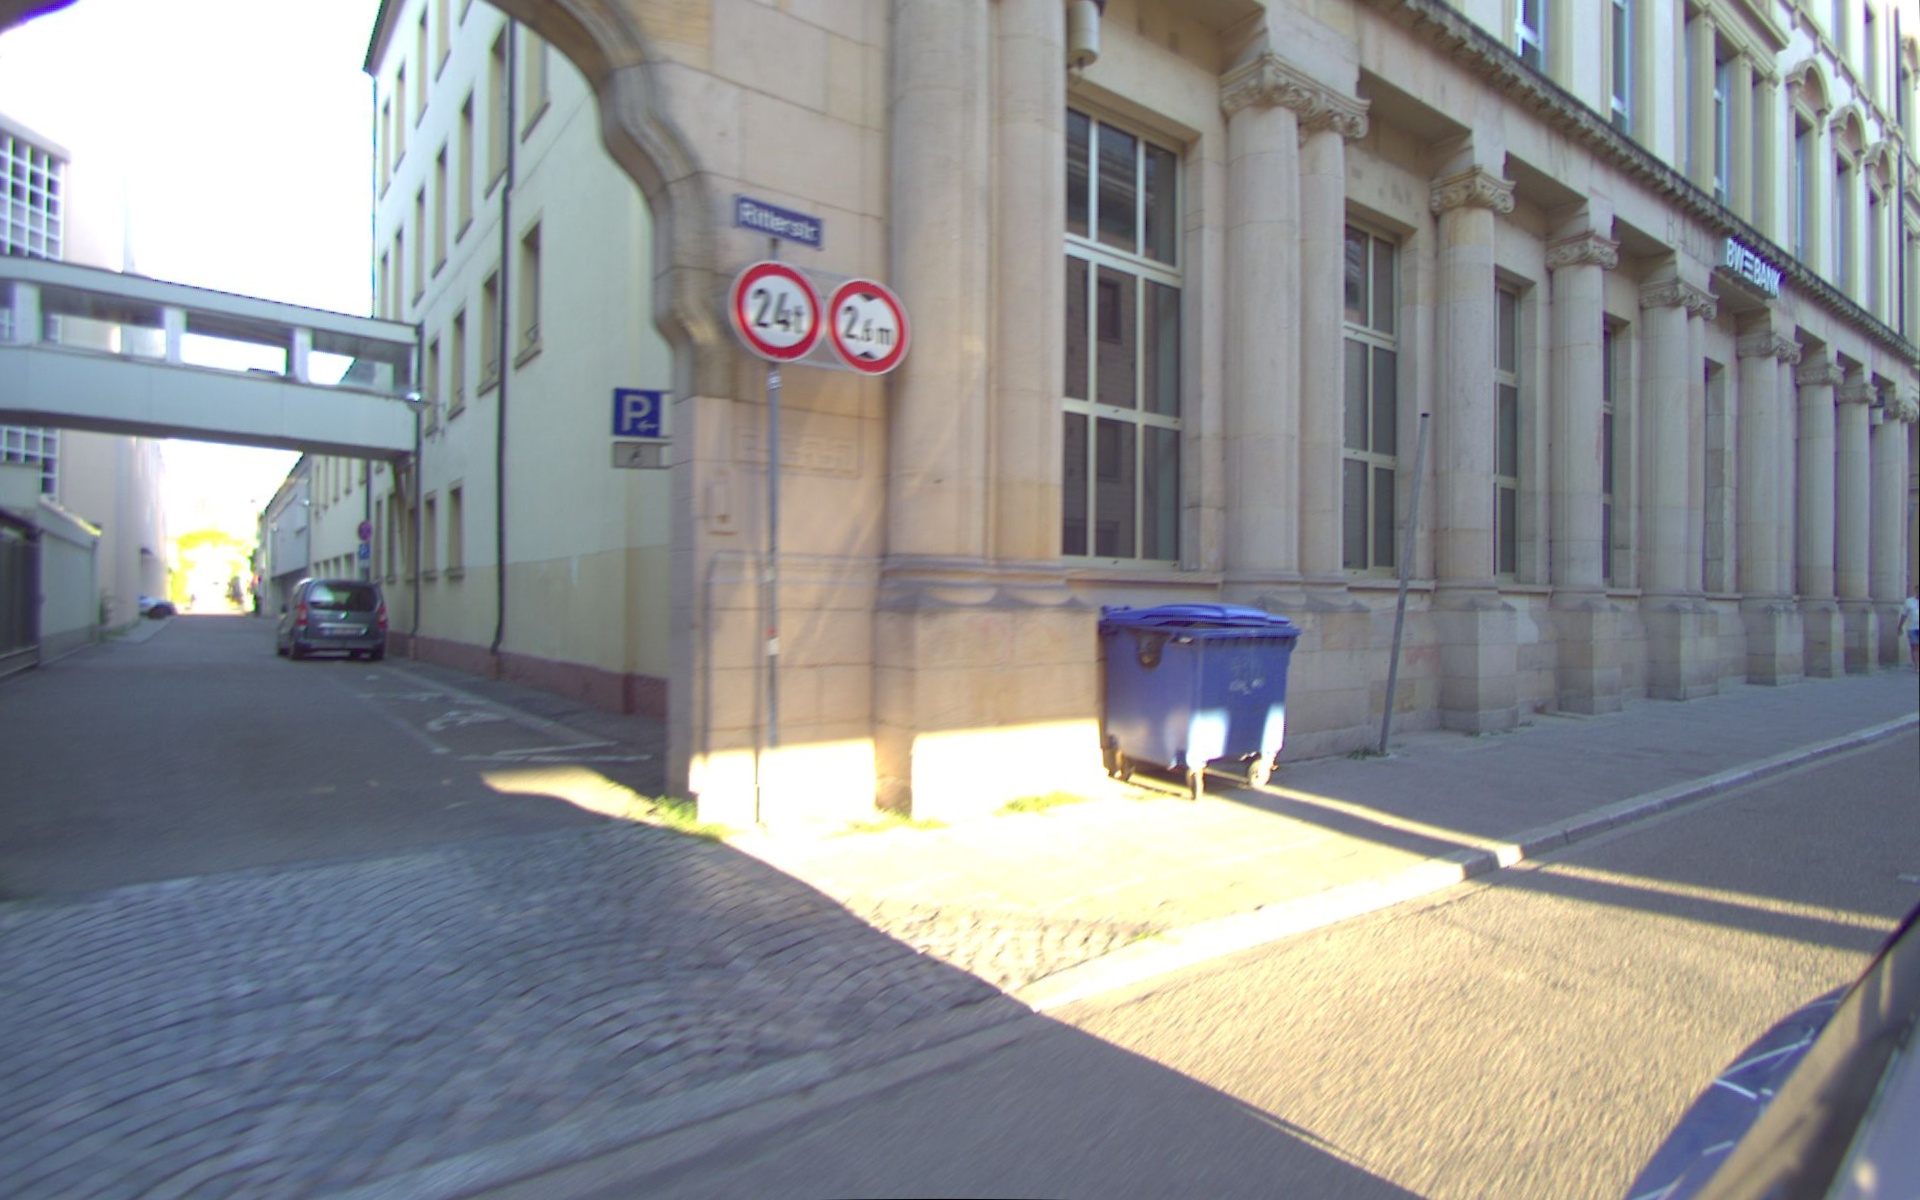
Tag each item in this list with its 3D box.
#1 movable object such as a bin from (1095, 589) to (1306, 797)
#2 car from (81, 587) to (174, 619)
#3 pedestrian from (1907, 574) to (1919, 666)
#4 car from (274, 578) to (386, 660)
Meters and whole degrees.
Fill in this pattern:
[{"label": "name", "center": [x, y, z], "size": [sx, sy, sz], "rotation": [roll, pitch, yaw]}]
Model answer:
[{"label": "movable object such as a bin", "center": [1.815, 0.631, 7.647], "size": [1.217, 1.409, 0.993], "rotation": [1, 0, -37]}, {"label": "car", "center": [-44.366, 0.165, 53.962], "size": [3.747, 1.639, 1.585], "rotation": [0, 0, -44]}, {"label": "pedestrian", "center": [20.311, 0.415, 21.017], "size": [0.859, 1.899, 0.814], "rotation": [0, 0, -38]}, {"label": "car", "center": [-14.492, 0.379, 23.189], "size": [1.756, 1.717, 3.807], "rotation": [0, 0, -38]}]
